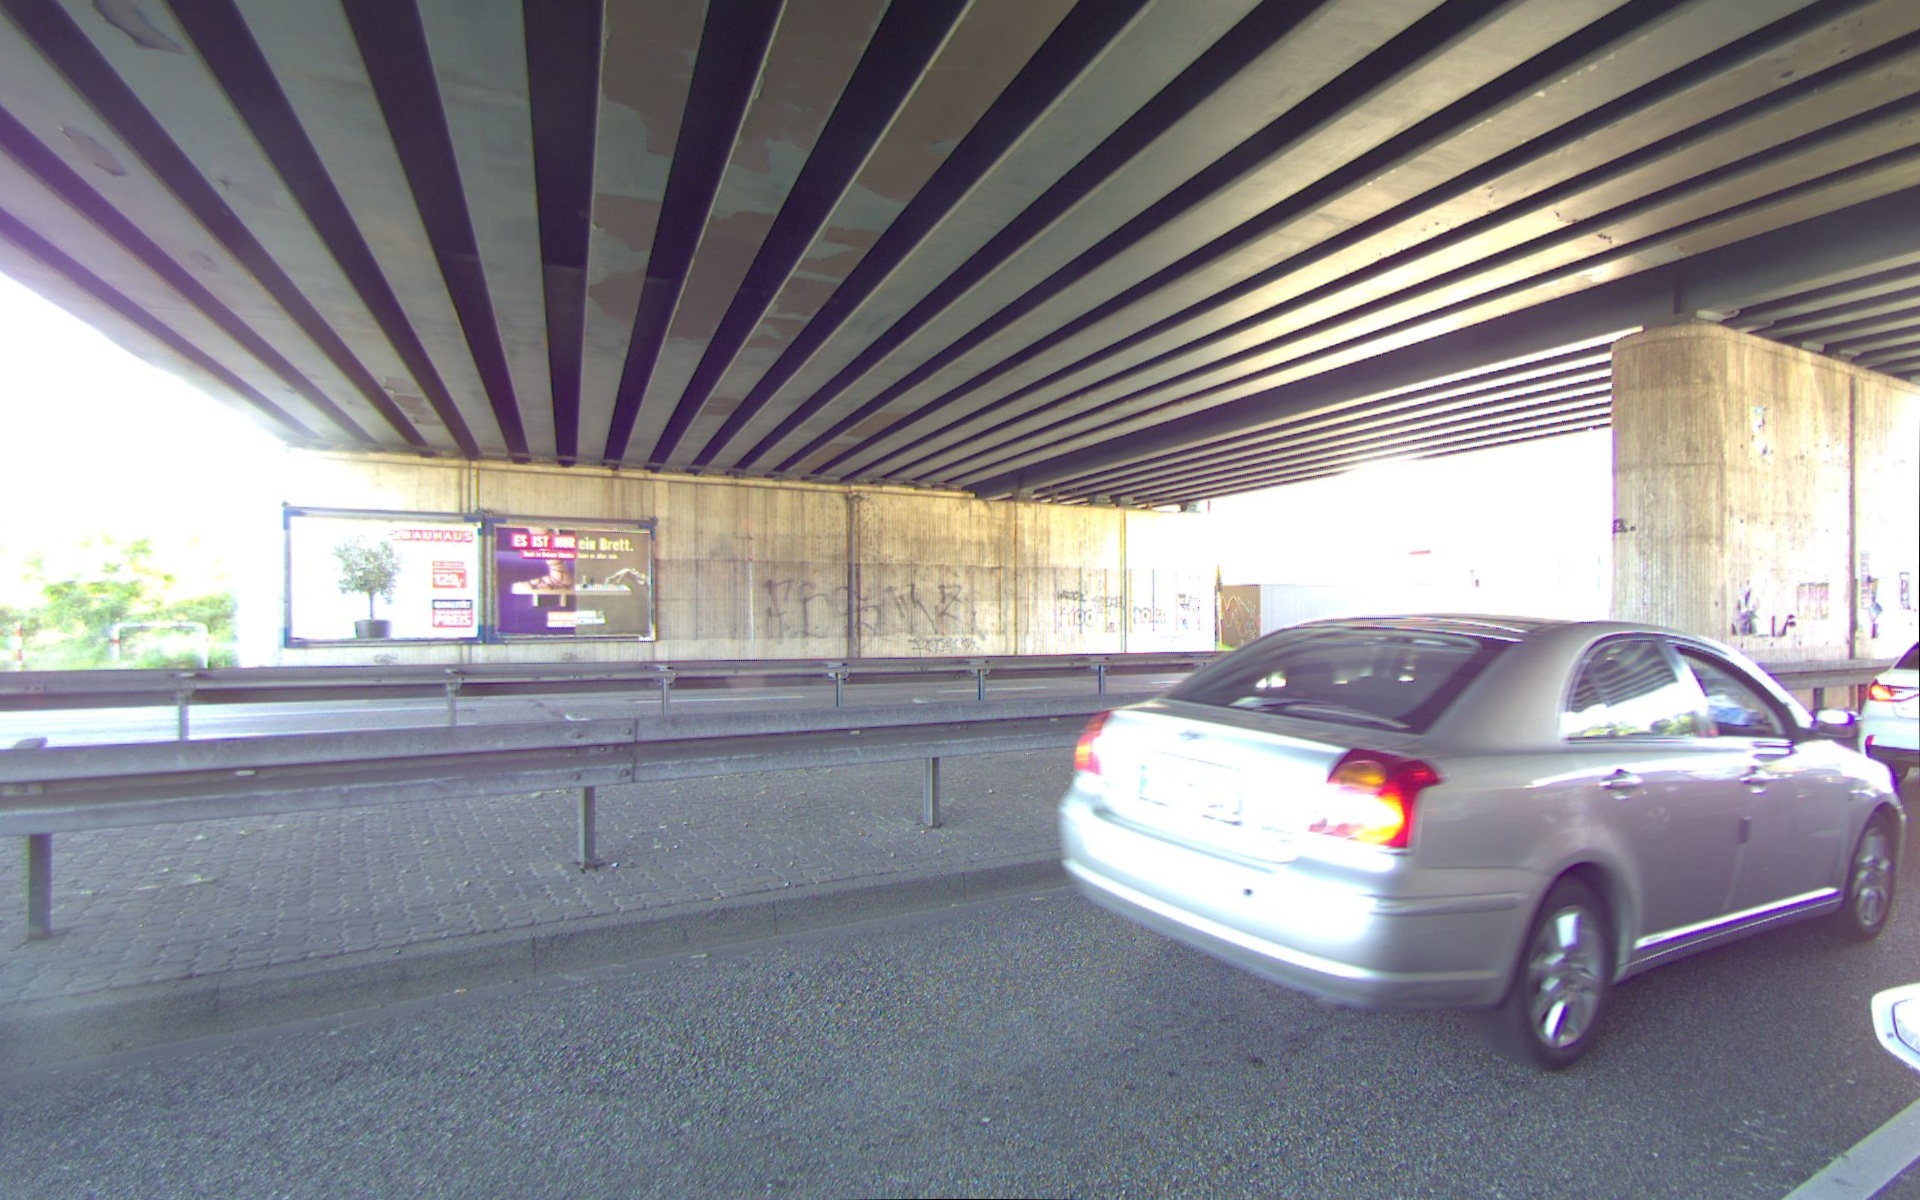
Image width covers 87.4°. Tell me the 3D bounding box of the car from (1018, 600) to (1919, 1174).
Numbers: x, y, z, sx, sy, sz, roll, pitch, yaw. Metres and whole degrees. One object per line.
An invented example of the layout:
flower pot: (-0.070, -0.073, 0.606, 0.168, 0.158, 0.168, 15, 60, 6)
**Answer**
car: (2.521, 0.785, 4.496, 4.349, 1.474, 1.687, 1, 0, -32)

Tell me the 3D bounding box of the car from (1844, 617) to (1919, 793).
car: (9.638, 0.901, 8.879, 3.770, 1.429, 1.684, 1, 0, -31)

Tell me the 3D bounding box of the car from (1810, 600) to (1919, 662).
car: (26.791, 0.896, 28.015, 4.273, 1.629, 2.001, 2, 0, 7)
